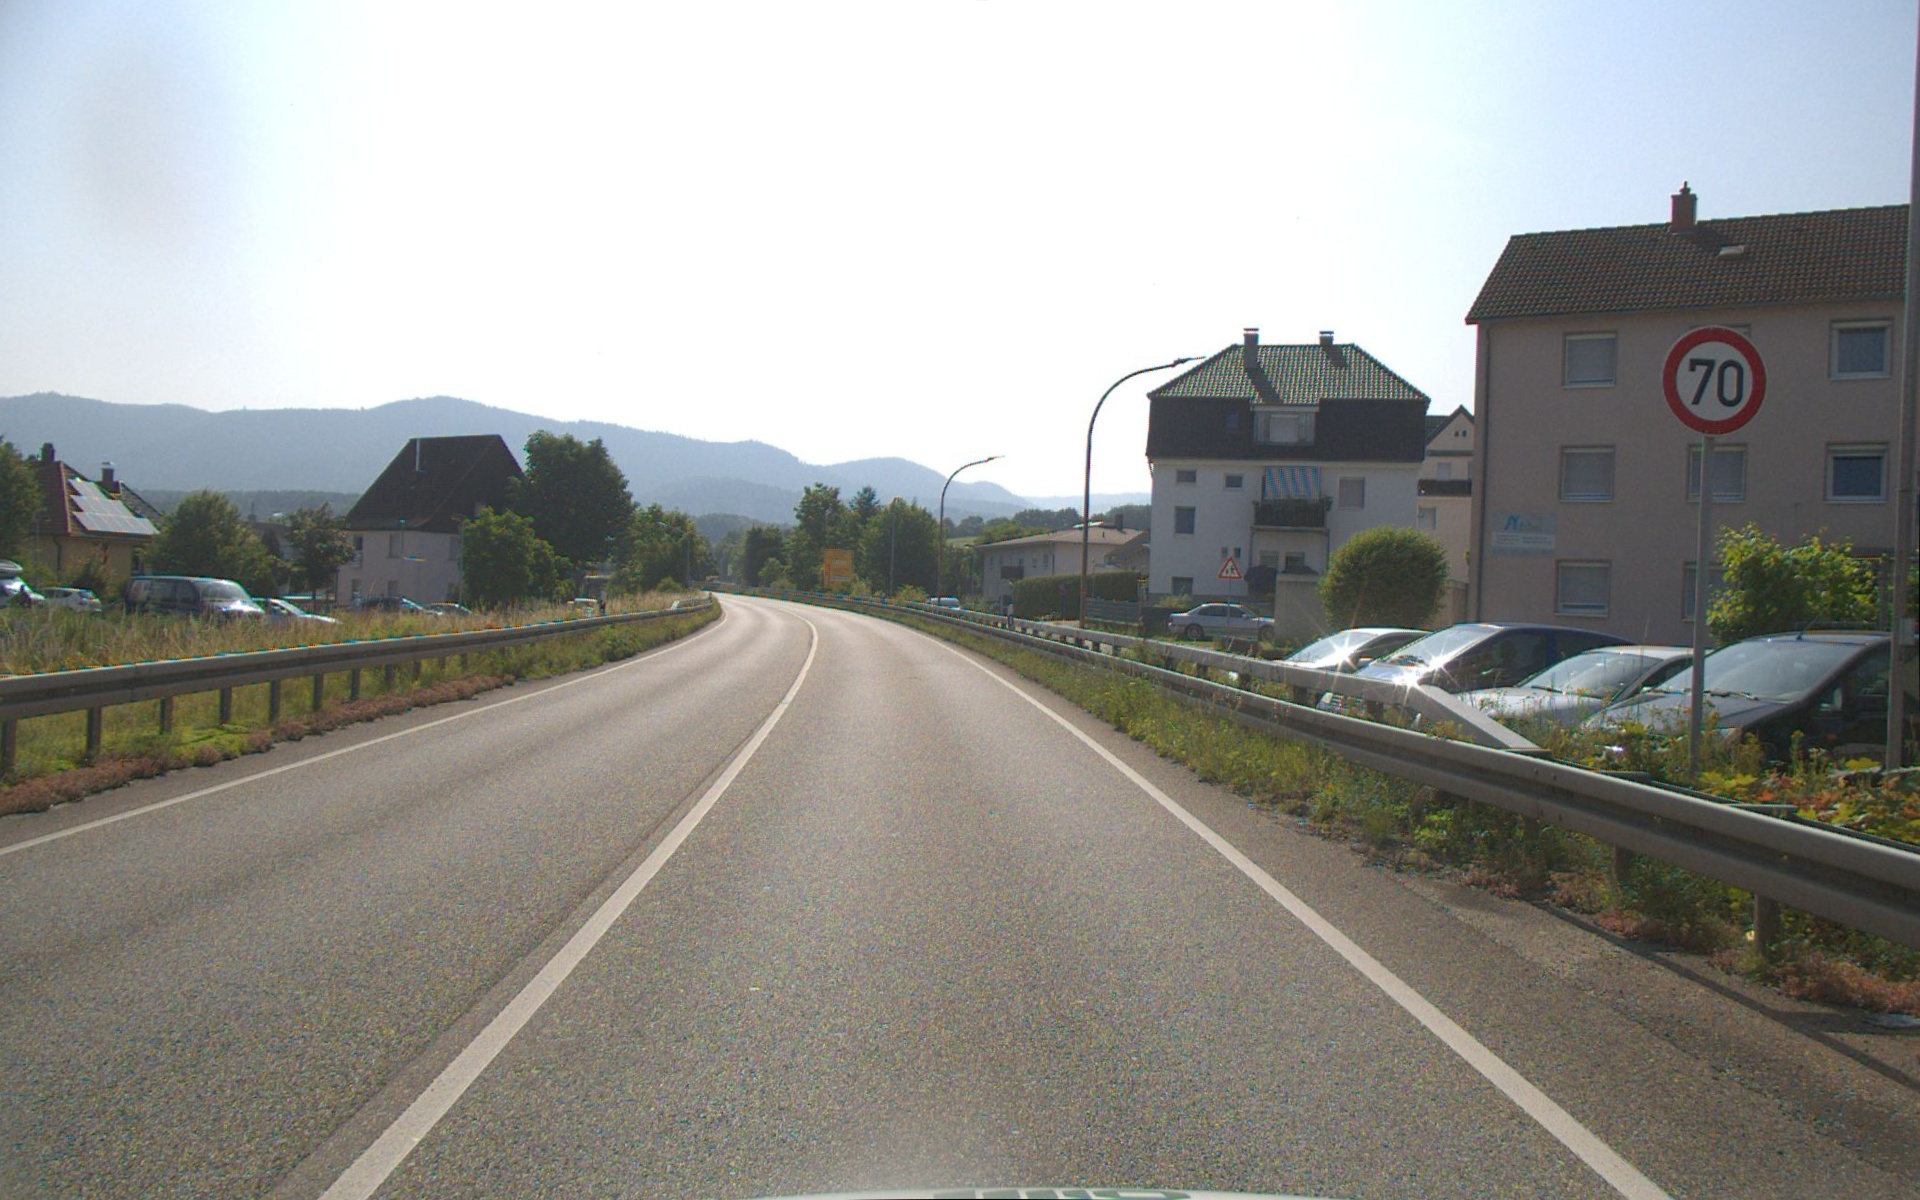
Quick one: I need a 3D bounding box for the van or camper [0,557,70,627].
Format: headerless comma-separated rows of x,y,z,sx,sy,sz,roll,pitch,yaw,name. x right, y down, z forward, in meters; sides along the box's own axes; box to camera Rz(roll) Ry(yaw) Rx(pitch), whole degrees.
-42.550,-0.428,70.870,7.241,2.892,2.748,2,0,2,van or camper

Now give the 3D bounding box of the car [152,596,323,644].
-22.435,0.617,51.499,4.530,1.406,1.739,1,0,-9,car

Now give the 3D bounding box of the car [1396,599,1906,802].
6.190,0.884,14.975,3.917,1.475,1.759,5,-1,-12,car

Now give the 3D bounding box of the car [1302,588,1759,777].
5.988,0.857,17.510,4.163,1.599,1.911,5,-1,-15,car

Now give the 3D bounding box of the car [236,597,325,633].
-38.038,0.853,92.623,4.071,1.662,1.863,4,-2,5,car

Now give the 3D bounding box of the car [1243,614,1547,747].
5.266,0.965,20.144,3.208,1.400,1.543,3,-1,-14,car

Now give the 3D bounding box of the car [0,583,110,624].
-41.422,0.157,75.260,4.463,1.662,1.862,2,0,2,car

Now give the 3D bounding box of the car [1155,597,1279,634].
9.999,0.580,64.435,4.502,1.372,1.755,0,1,22,car

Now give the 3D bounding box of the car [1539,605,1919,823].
6.677,0.805,12.727,3.994,1.477,1.720,1,0,-18,car

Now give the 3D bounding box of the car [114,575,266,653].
-21.748,0.355,46.636,4.812,2.049,1.990,1,0,39,car
